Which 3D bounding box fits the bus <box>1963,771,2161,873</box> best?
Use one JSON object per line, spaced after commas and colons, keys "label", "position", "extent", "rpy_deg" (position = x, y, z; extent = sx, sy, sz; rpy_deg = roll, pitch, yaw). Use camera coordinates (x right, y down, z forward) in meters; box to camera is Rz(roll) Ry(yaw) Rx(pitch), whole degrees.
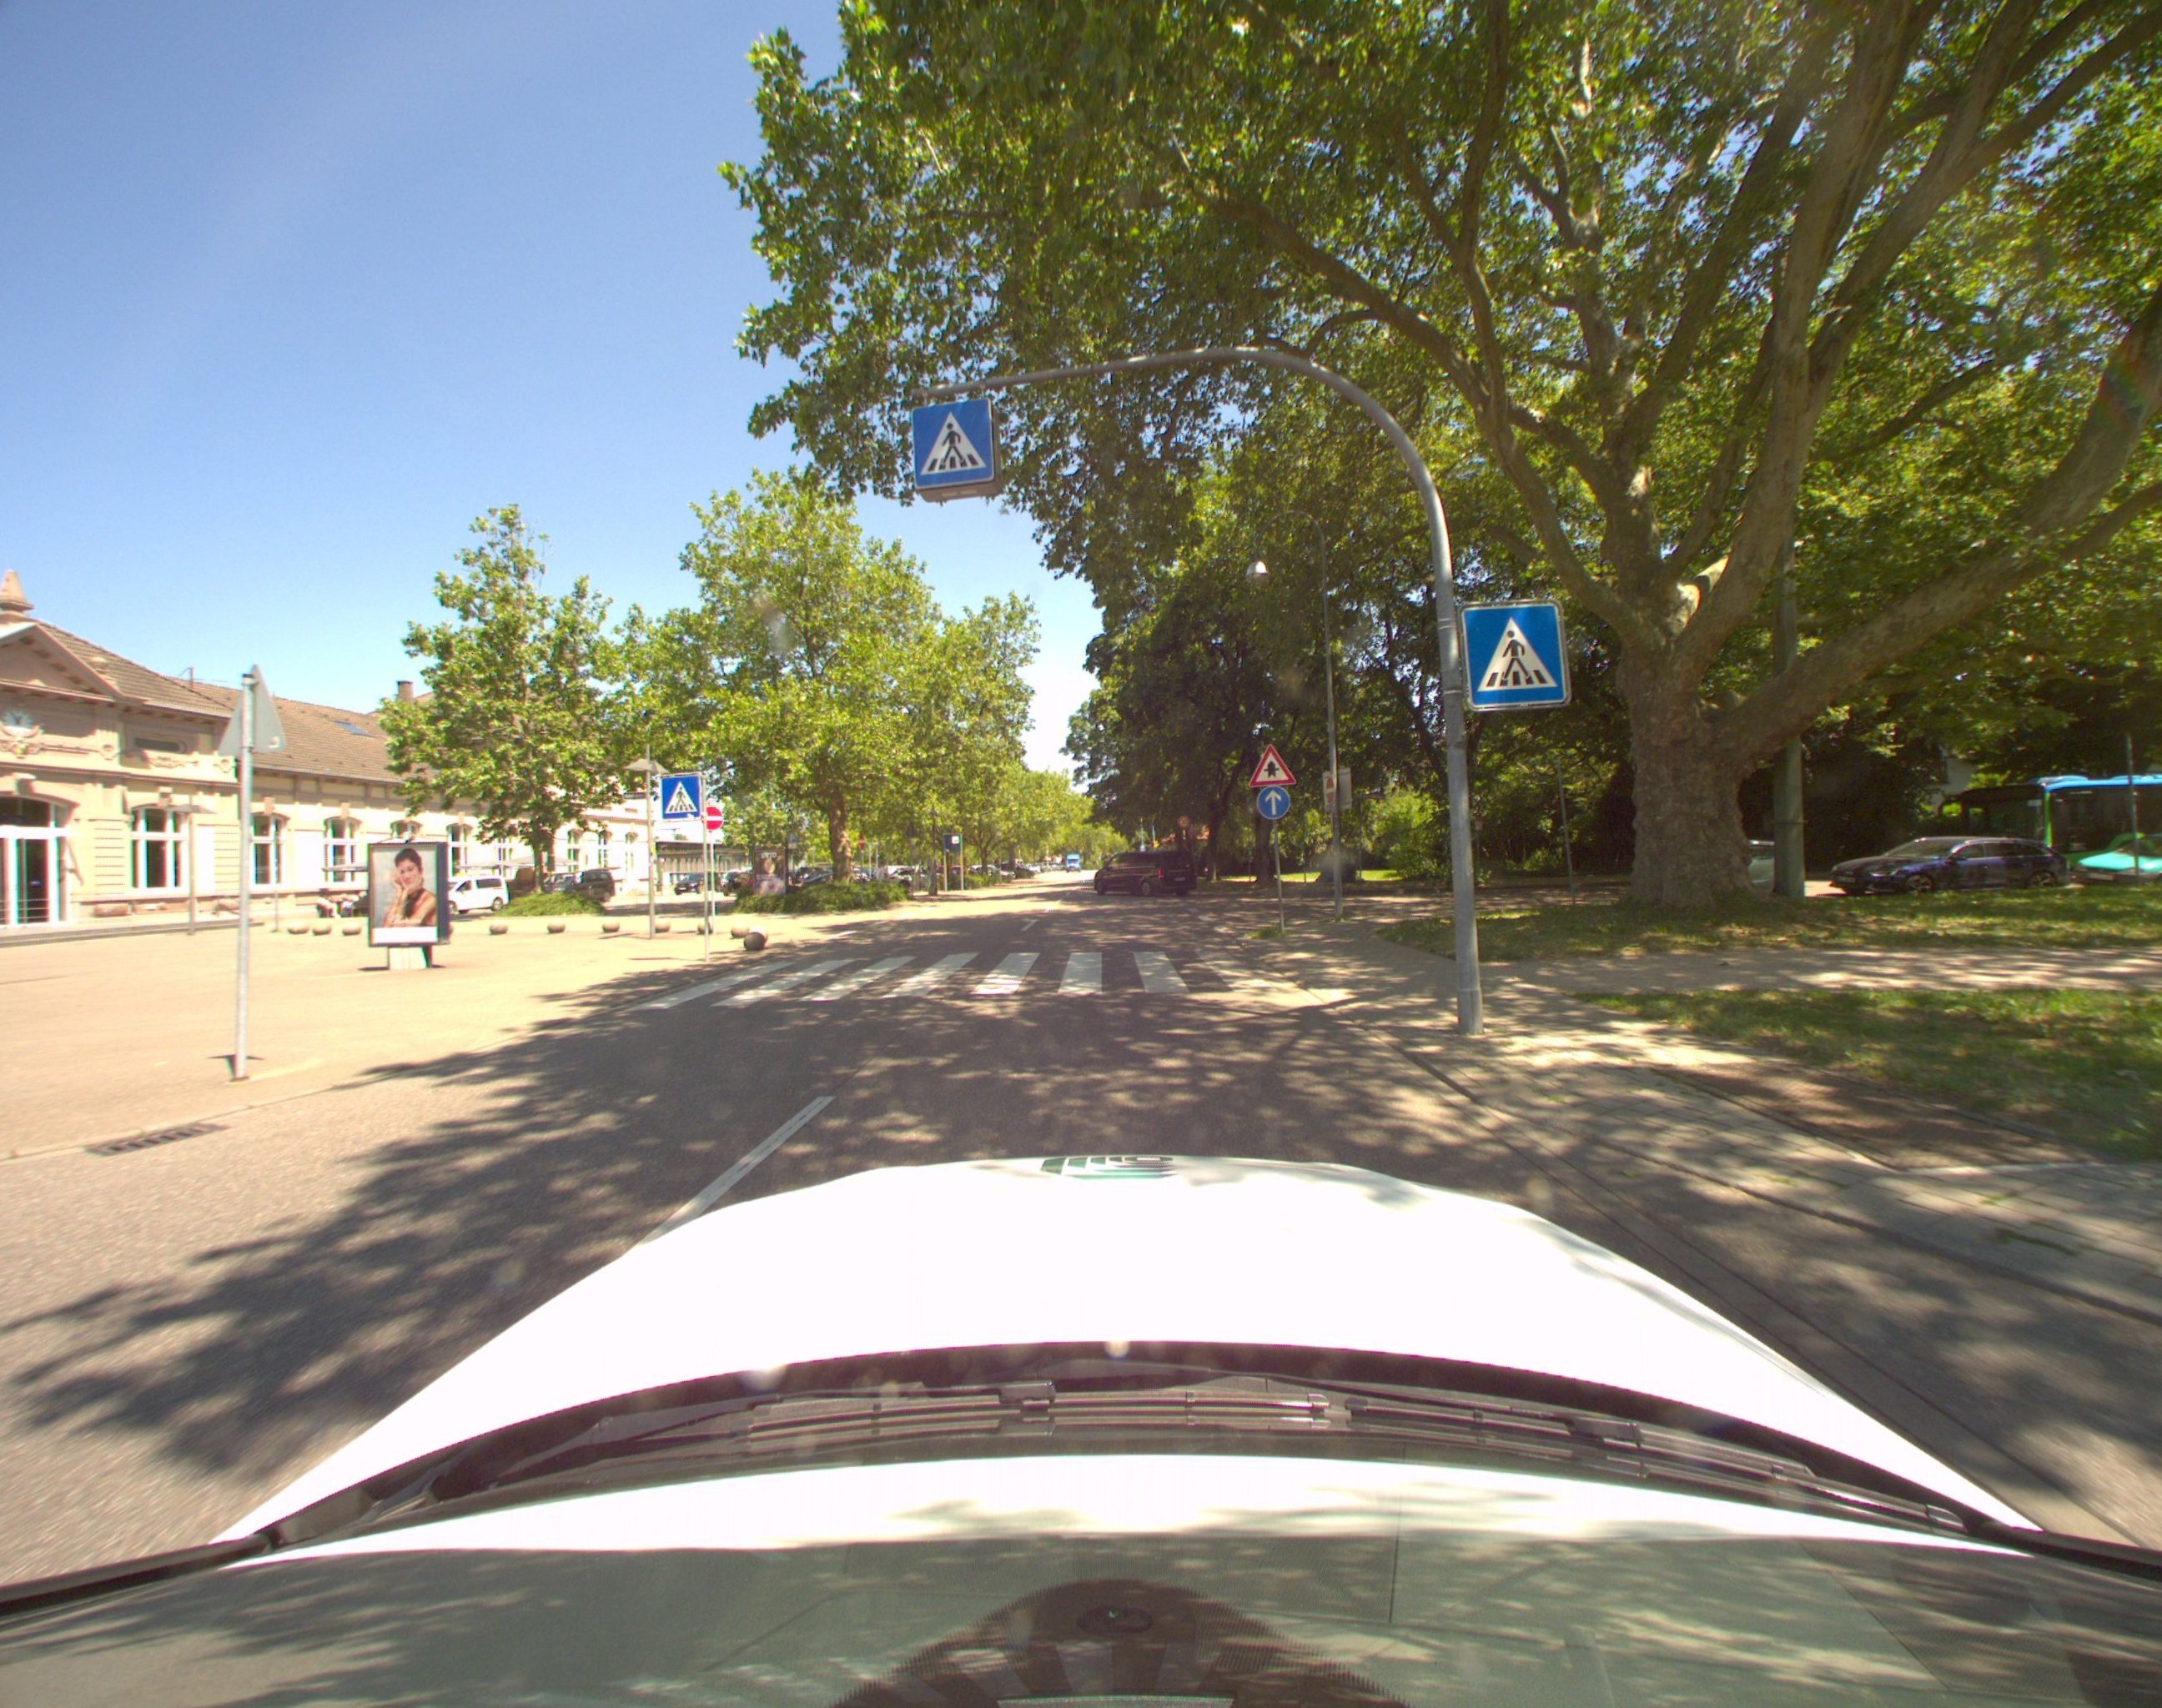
{"label": "bus", "position": [35.688, -1.121, 25.961], "extent": [12.333, 2.978, 2.269], "rpy_deg": [-2, -2, 1]}

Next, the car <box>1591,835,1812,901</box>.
{"label": "car", "position": [15.848, 0.358, 20.997], "extent": [4.086, 1.466, 2.003], "rpy_deg": [-2, -1, 4]}

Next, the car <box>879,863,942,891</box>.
{"label": "car", "position": [-11.649, 1.577, 55.518], "extent": [3.996, 1.782, 1.988], "rpy_deg": [-1, -2, -17]}

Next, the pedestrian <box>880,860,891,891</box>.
{"label": "pedestrian", "position": [-12.946, 1.454, 53.952], "extent": [0.625, 2.014, 0.568], "rpy_deg": [-2, -3, -12]}

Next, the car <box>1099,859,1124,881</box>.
{"label": "car", "position": [2.680, 1.415, 72.860], "extent": [2.117, 1.848, 4.049], "rpy_deg": [-1, -1, 1]}

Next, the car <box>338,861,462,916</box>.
{"label": "car", "position": [-32.639, 1.600, 39.279], "extent": [1.713, 2.468, 5.004], "rpy_deg": [-1, -1, 1]}

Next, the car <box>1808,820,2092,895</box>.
{"label": "car", "position": [21.540, 0.093, 20.365], "extent": [4.804, 1.607, 2.001], "rpy_deg": [-2, -1, 2]}

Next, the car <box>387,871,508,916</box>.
{"label": "car", "position": [-29.383, 1.768, 37.998], "extent": [1.745, 1.917, 4.776], "rpy_deg": [-2, -1, 1]}

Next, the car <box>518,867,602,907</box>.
{"label": "car", "position": [-28.919, 1.798, 45.364], "extent": [1.986, 2.014, 4.001], "rpy_deg": [-2, -1, 1]}

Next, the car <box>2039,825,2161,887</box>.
{"label": "car", "position": [27.119, 0.043, 20.356], "extent": [3.866, 1.454, 2.001], "rpy_deg": [-1, -2, 2]}
